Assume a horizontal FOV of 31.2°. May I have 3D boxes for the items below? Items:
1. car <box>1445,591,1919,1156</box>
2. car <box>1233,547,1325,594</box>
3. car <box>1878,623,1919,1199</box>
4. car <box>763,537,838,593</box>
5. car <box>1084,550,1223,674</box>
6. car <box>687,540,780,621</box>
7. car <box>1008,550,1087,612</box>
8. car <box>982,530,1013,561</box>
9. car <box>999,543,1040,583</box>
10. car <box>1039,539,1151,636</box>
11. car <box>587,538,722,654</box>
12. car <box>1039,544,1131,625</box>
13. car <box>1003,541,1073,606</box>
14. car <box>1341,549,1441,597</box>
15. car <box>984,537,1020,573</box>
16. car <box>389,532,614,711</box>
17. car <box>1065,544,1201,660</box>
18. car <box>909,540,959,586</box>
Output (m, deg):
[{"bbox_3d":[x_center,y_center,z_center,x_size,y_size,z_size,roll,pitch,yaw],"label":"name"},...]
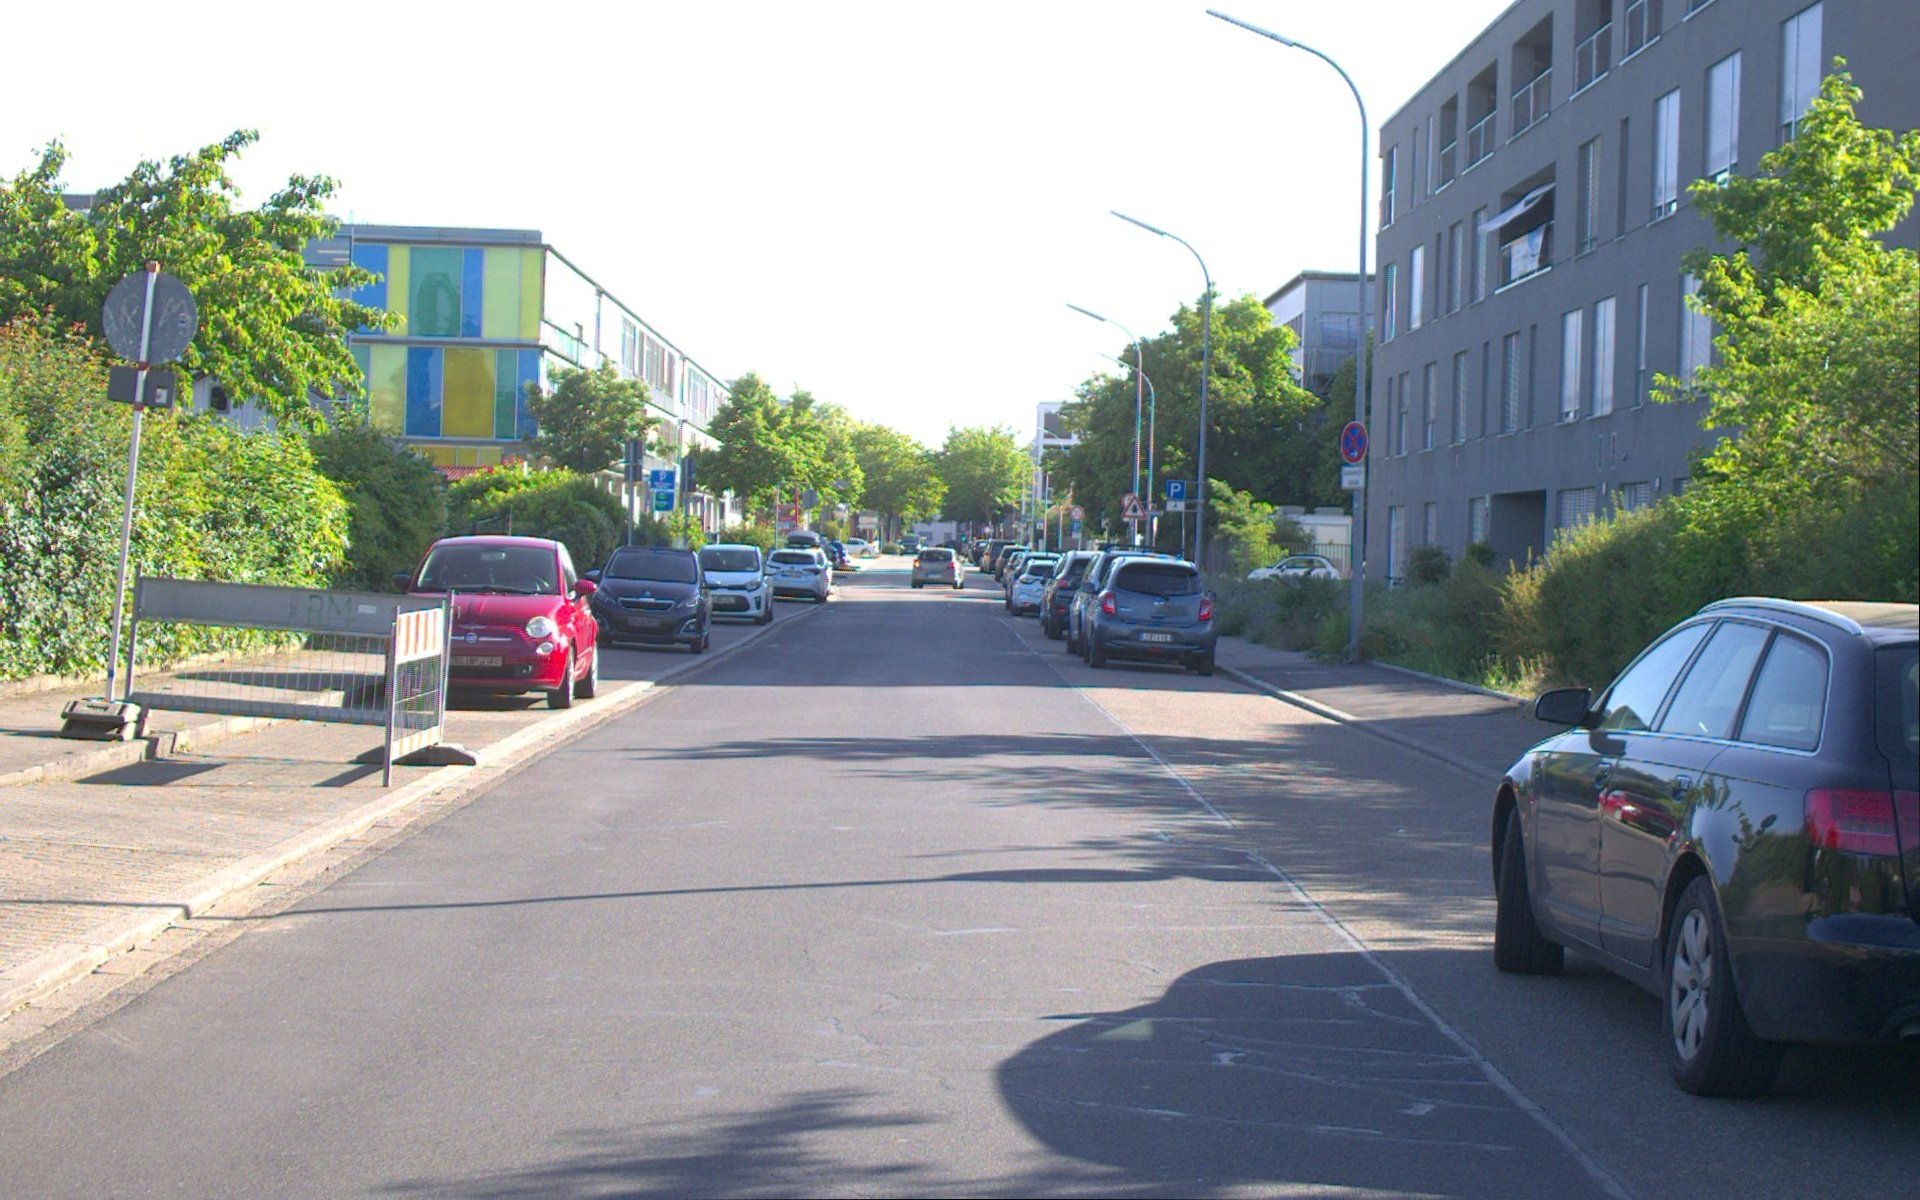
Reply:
[{"bbox_3d":[2.935,0.763,11.484,1.753,1.408,4.657,4,1,-2],"label":"car"},{"bbox_3d":[11.633,-1.079,125.437,3.216,1.544,1.450,3,1,3],"label":"car"},{"bbox_3d":[2.901,0.862,5.145,1.654,1.440,4.656,4,1,-1],"label":"car"},{"bbox_3d":[-4.406,-0.996,95.411,1.854,1.423,4.134,3,1,-1],"label":"car"},{"bbox_3d":[2.610,0.135,47.070,1.622,1.521,3.901,4,1,0],"label":"car"},{"bbox_3d":[-4.326,-0.393,66.152,1.559,1.489,3.759,1,1,-1],"label":"car"},{"bbox_3d":[2.181,-0.491,86.590,1.742,1.423,4.134,3,1,-1],"label":"car"},{"bbox_3d":[2.008,-2.912,182.620,1.445,1.544,3.614,3,1,-1],"label":"car"},{"bbox_3d":[2.440,-1.515,141.220,1.445,1.544,3.614,3,1,-1],"label":"car"},{"bbox_3d":[2.431,-0.252,62.650,1.742,1.619,4.179,3,1,-1],"label":"car"},{"bbox_3d":[-4.328,-0.082,49.108,1.559,1.489,3.571,4,1,-1],"label":"car"},{"bbox_3d":[2.574,-0.349,71.646,1.657,1.546,3.851,3,1,-1],"label":"car"},{"bbox_3d":[2.073,-0.730,92.597,1.632,1.625,3.614,3,1,-1],"label":"car"},{"bbox_3d":[14.690,-0.935,117.281,3.216,1.455,1.450,3,1,3],"label":"car"},{"bbox_3d":[1.929,-2.081,157.218,1.445,1.544,3.614,3,1,-1],"label":"car"},{"bbox_3d":[-4.059,0.154,30.889,1.559,1.489,3.571,1,1,-1],"label":"car"},{"bbox_3d":[2.606,-0.002,52.569,1.676,1.603,4.179,4,1,-1],"label":"car"},{"bbox_3d":[-0.945,-1.333,123.977,1.689,1.544,3.614,3,1,-1],"label":"car"}]
